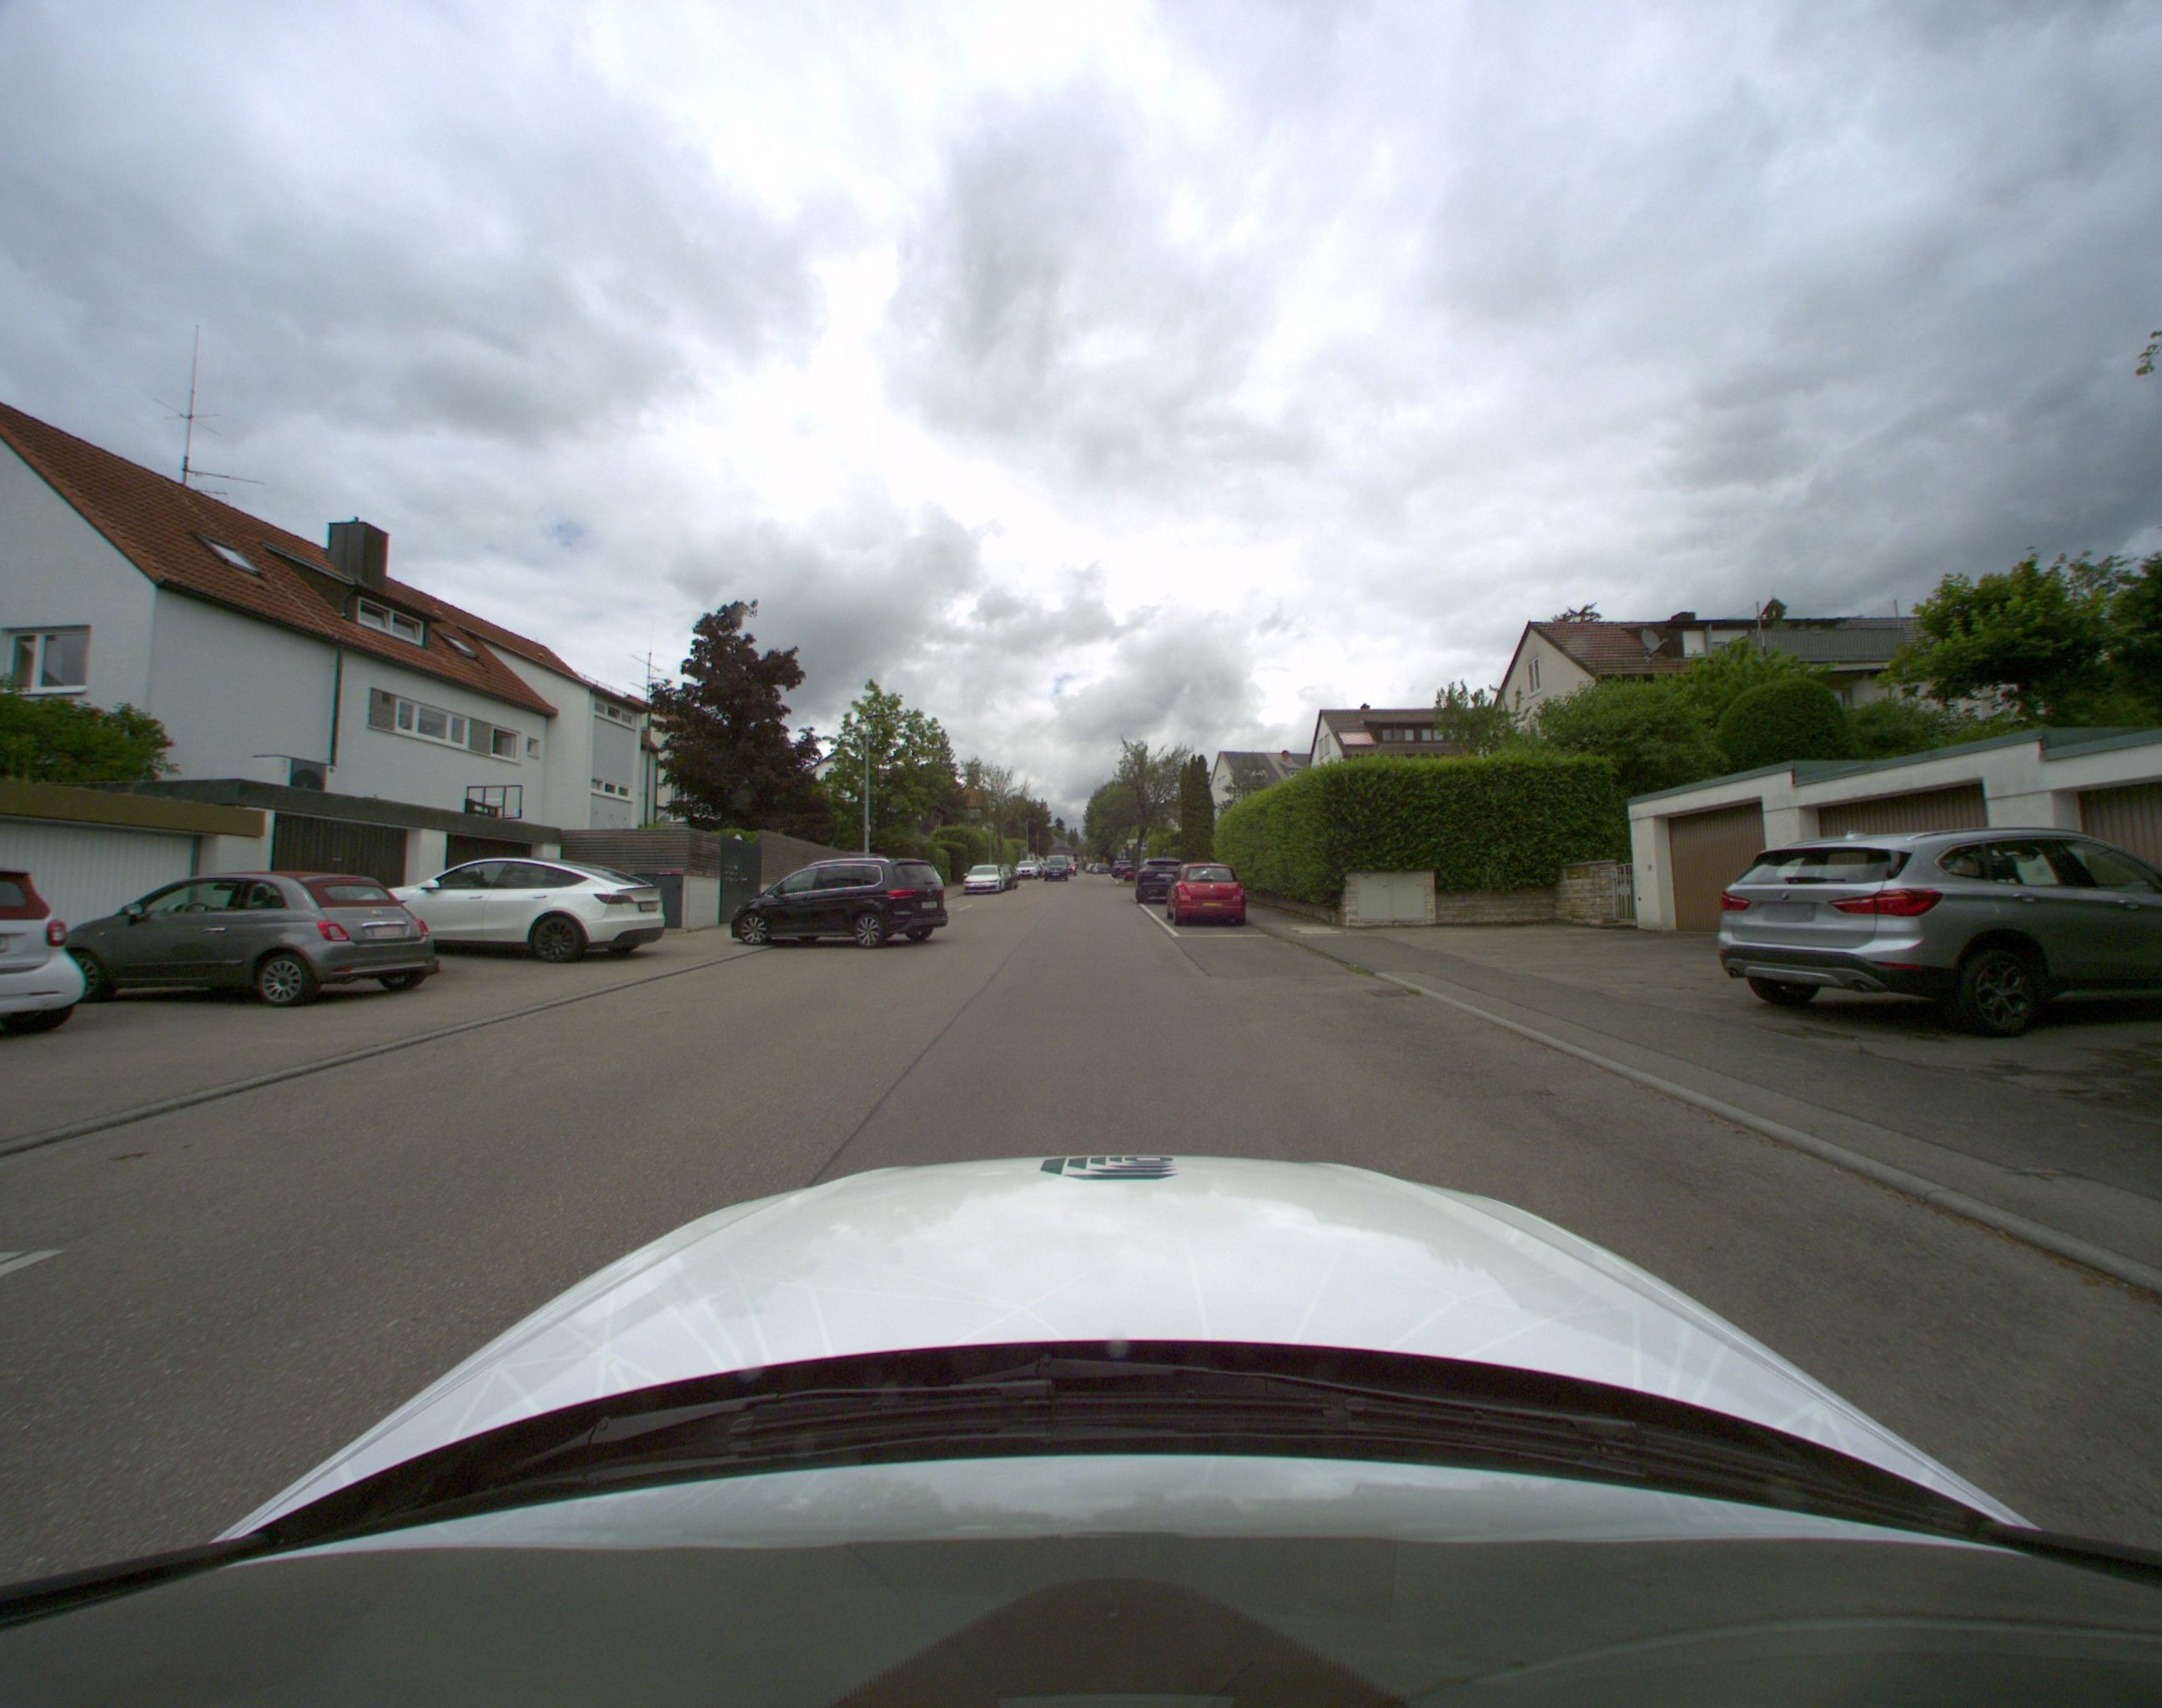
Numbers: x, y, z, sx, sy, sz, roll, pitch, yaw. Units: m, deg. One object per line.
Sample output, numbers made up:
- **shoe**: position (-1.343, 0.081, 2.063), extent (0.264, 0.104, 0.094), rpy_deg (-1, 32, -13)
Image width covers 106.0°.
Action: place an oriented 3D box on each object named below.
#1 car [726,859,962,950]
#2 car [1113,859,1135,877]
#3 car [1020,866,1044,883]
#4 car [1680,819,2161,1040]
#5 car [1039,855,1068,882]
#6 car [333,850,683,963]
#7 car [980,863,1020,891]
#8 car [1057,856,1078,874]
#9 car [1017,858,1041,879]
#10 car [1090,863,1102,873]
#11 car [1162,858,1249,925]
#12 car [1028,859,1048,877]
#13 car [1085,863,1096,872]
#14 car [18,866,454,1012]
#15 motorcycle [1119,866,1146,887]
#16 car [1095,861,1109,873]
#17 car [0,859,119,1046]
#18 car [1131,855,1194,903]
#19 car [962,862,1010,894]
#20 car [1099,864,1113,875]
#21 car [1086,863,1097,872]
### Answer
- **car**: position (-4.698, 0.936, 16.179), extent (4.259, 1.611, 1.864), rpy_deg (-1, -1, 23)
- **car**: position (3.778, 1.263, 72.779), extent (1.875, 1.533, 4.477), rpy_deg (0, 0, 2)
- **car**: position (-4.329, 1.833, 71.840), extent (1.756, 1.388, 3.999), rpy_deg (-3, -2, 0)
- **car**: position (8.070, 0.544, 7.332), extent (4.205, 1.599, 1.877), rpy_deg (-1, -1, -9)
- **car**: position (-1.954, 1.030, 59.763), extent (1.879, 1.851, 4.401), rpy_deg (-2, 0, 0)
- **car**: position (-9.392, 0.826, 13.646), extent (4.397, 1.629, 1.910), rpy_deg (2, -1, -1)
- **car**: position (-4.538, 1.273, 45.998), extent (1.721, 1.423, 4.080), rpy_deg (-2, -1, 1)
- **car**: position (-1.316, 1.088, 81.792), extent (1.934, 1.647, 4.258), rpy_deg (-3, -1, 1)
- **car**: position (-4.156, 1.168, 65.998), extent (1.718, 1.540, 3.997), rpy_deg (-2, 0, -2)
- **car**: position (2.364, 2.292, 130.248), extent (1.661, 1.501, 3.463), rpy_deg (-1, 0, -3)
- **car**: position (3.036, 0.864, 20.461), extent (1.655, 1.508, 3.759), rpy_deg (-1, 0, 1)
- **car**: position (-4.025, 1.320, 77.026), extent (1.625, 1.523, 3.638), rpy_deg (-3, 0, 0)
- **car**: position (1.716, 2.397, 147.520), extent (1.661, 1.668, 3.463), rpy_deg (-1, 0, -3)
- **car**: position (-9.933, 0.952, 9.790), extent (3.416, 1.512, 1.693), rpy_deg (1, -2, 1)
- **motorcycle**: position (3.512, 1.509, 55.245), extent (1.876, 1.346, 0.593), rpy_deg (-1, -1, -35)
- **car**: position (3.065, 1.924, 120.782), extent (1.710, 1.657, 3.618), rpy_deg (-1, 0, -3)
- **car**: position (-10.876, 0.800, 6.906), extent (3.416, 1.578, 1.657), rpy_deg (1, -2, 1)
- **car**: position (2.955, 0.886, 30.281), extent (1.986, 1.618, 4.514), rpy_deg (1, -1, 1)
- **car**: position (-4.756, 1.164, 41.368), extent (1.831, 1.422, 4.407), rpy_deg (-2, 0, 0)
- **car**: position (3.571, 2.187, 116.318), extent (1.661, 1.501, 3.463), rpy_deg (-1, 0, -3)
- **car**: position (1.754, 2.360, 140.789), extent (1.661, 1.501, 3.463), rpy_deg (-1, 0, -3)
